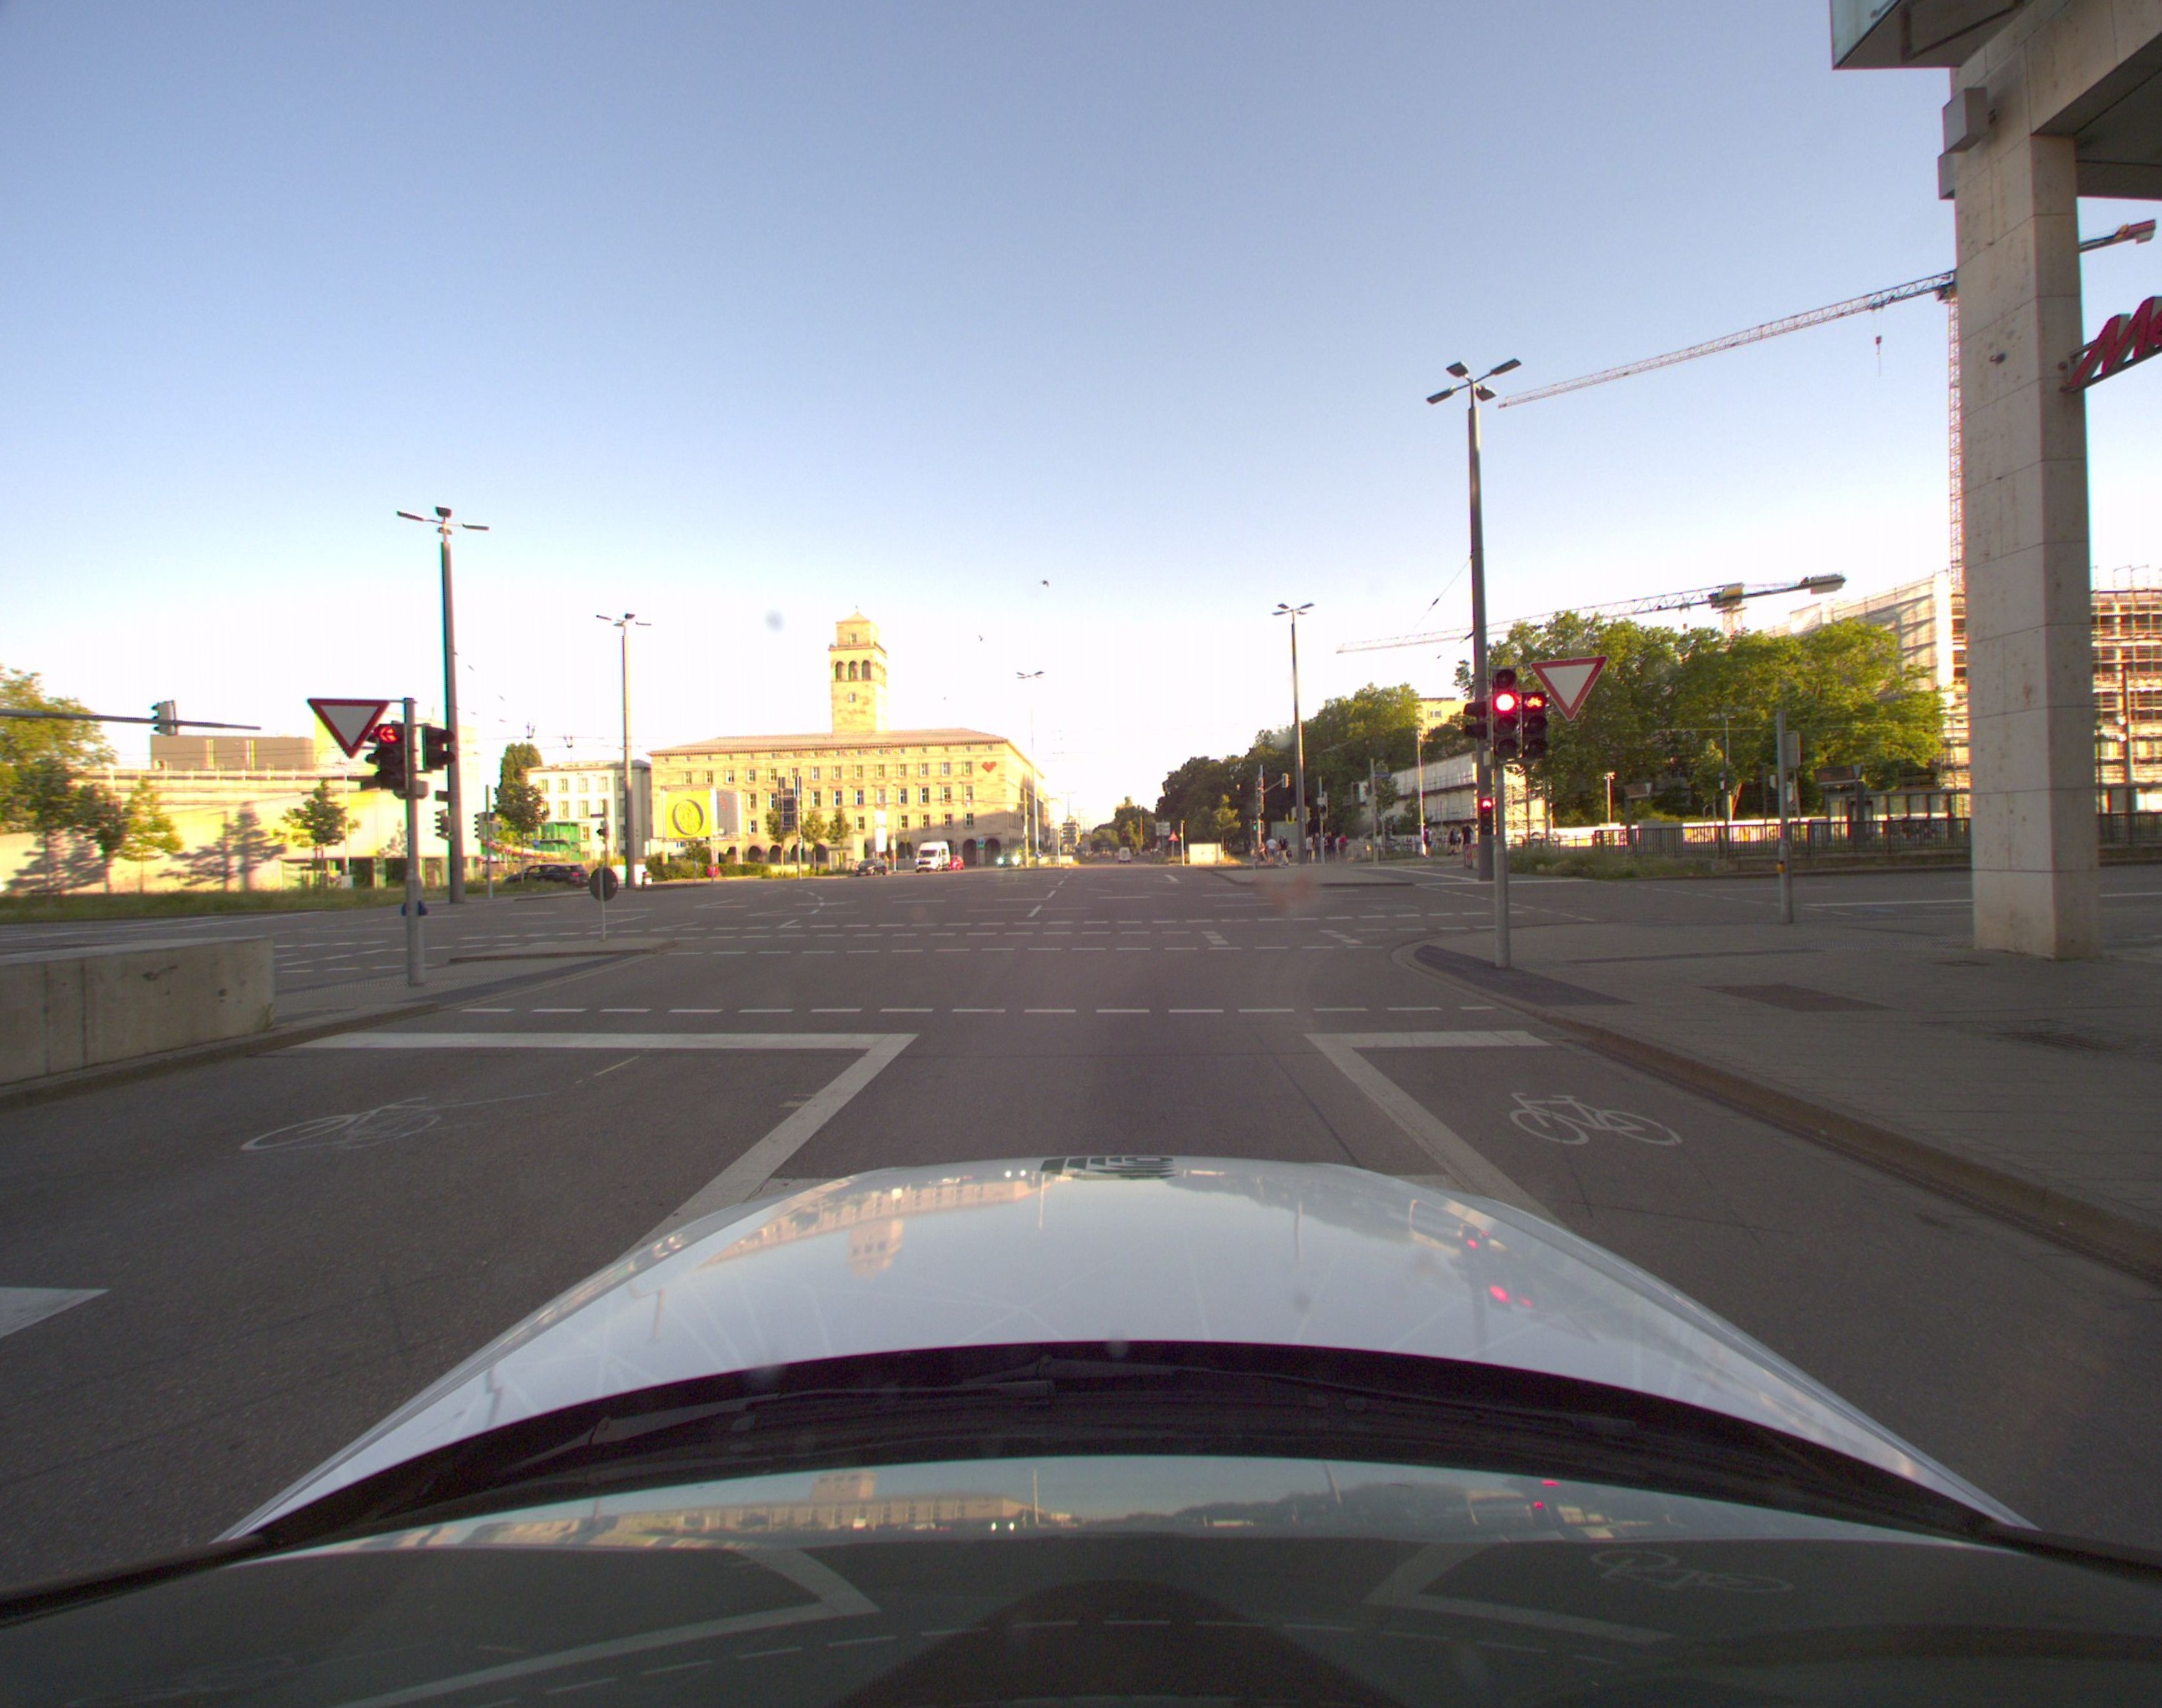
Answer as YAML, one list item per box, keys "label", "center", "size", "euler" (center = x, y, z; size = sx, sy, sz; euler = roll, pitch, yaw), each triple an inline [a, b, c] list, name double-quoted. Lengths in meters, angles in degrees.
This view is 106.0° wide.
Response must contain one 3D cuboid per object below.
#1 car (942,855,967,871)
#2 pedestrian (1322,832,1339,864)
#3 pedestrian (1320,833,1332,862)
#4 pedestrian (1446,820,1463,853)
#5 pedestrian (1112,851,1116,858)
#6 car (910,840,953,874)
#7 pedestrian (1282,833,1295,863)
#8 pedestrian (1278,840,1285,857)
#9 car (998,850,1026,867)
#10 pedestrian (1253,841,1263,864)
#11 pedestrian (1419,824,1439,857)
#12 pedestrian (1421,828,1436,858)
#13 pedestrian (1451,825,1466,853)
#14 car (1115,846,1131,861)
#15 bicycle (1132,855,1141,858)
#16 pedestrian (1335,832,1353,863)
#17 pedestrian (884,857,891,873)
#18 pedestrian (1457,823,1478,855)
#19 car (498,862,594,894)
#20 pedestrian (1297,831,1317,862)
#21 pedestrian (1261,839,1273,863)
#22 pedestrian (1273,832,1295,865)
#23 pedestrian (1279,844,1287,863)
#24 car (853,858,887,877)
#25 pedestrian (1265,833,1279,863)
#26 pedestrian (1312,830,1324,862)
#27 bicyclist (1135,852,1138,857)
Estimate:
- label: "car"
  center: [-12.631, 0.890, 81.669]
  size: [1.732, 1.487, 4.002]
  euler: [-2, 1, 2]
- label: "pedestrian"
  center: [13.934, -0.342, 45.504]
  size: [0.799, 1.791, 0.804]
  euler: [-2, 1, 16]
- label: "pedestrian"
  center: [14.117, -0.373, 46.954]
  size: [0.568, 1.678, 0.641]
  euler: [-2, 1, 16]
- label: "pedestrian"
  center: [19.772, -0.929, 43.098]
  size: [0.705, 1.725, 0.672]
  euler: [-2, 0, 19]
- label: "pedestrian"
  center: [7.909, 0.184, 194.877]
  size: [0.903, 1.671, 1.307]
  euler: [-2, 1, 1]
- label: "car"
  center: [-13.283, 0.230, 72.982]
  size: [2.269, 2.776, 6.090]
  euler: [-2, 0, 4]
- label: "pedestrian"
  center: [12.194, -0.349, 47.805]
  size: [0.705, 1.725, 0.671]
  euler: [-2, 1, 15]
- label: "pedestrian"
  center: [21.315, -0.572, 86.633]
  size: [0.662, 1.842, 0.714]
  euler: [-2, 1, 7]
- label: "car"
  center: [-6.163, 0.390, 72.959]
  size: [1.815, 1.341, 4.005]
  euler: [-2, 1, 4]
- label: "pedestrian"
  center: [13.201, -0.110, 60.646]
  size: [0.555, 1.654, 0.907]
  euler: [-2, 1, 22]
- label: "pedestrian"
  center: [18.348, -0.712, 42.933]
  size: [0.670, 1.725, 0.706]
  euler: [-2, 0, -29]
- label: "pedestrian"
  center: [18.926, -0.593, 44.326]
  size: [0.569, 1.592, 0.537]
  euler: [-2, 0, 1]
- label: "pedestrian"
  center: [20.247, -0.795, 43.708]
  size: [0.670, 1.441, 0.718]
  euler: [-2, 0, 24]
- label: "car"
  center: [4.669, -0.064, 91.333]
  size: [1.479, 1.696, 2.972]
  euler: [-2, 0, -2]
- label: "bicycle"
  center: [15.286, 0.668, 224.922]
  size: [2.598, 0.959, 0.513]
  euler: [0, -1, -7]
- label: "pedestrian"
  center: [14.797, -0.376, 45.819]
  size: [0.838, 1.734, 0.708]
  euler: [-2, 1, 14]
- label: "pedestrian"
  center: [-20.853, 1.205, 87.678]
  size: [0.620, 1.744, 0.459]
  euler: [0, -1, -4]
- label: "pedestrian"
  center: [21.126, -0.831, 44.517]
  size: [0.670, 1.725, 0.706]
  euler: [-2, 0, -31]
- label: "car"
  center: [-30.334, 1.334, 46.260]
  size: [4.115, 1.604, 1.741]
  euler: [-2, 0, -6]
- label: "pedestrian"
  center: [12.910, -0.442, 46.575]
  size: [0.908, 1.725, 0.713]
  euler: [-2, 0, 1]
- label: "pedestrian"
  center: [13.783, -0.240, 60.392]
  size: [0.673, 1.757, 0.907]
  euler: [-2, 1, 22]
- label: "pedestrian"
  center: [10.895, -0.294, 43.682]
  size: [0.903, 1.725, 0.718]
  euler: [-1, 1, 40]
- label: "pedestrian"
  center: [15.333, -0.033, 61.796]
  size: [0.568, 1.437, 0.641]
  euler: [-2, 1, 13]
- label: "car"
  center: [-18.353, 1.140, 70.959]
  size: [1.817, 1.466, 4.158]
  euler: [-2, 1, 0]
- label: "pedestrian"
  center: [11.252, -0.341, 47.897]
  size: [0.705, 1.725, 0.671]
  euler: [-2, 1, 16]
- label: "pedestrian"
  center: [13.277, -0.451, 45.679]
  size: [0.568, 1.791, 0.641]
  euler: [-2, 1, 16]
- label: "bicyclist"
  center: [15.296, 0.127, 224.948]
  size: [0.829, 1.463, 0.659]
  euler: [-2, 0, -6]
